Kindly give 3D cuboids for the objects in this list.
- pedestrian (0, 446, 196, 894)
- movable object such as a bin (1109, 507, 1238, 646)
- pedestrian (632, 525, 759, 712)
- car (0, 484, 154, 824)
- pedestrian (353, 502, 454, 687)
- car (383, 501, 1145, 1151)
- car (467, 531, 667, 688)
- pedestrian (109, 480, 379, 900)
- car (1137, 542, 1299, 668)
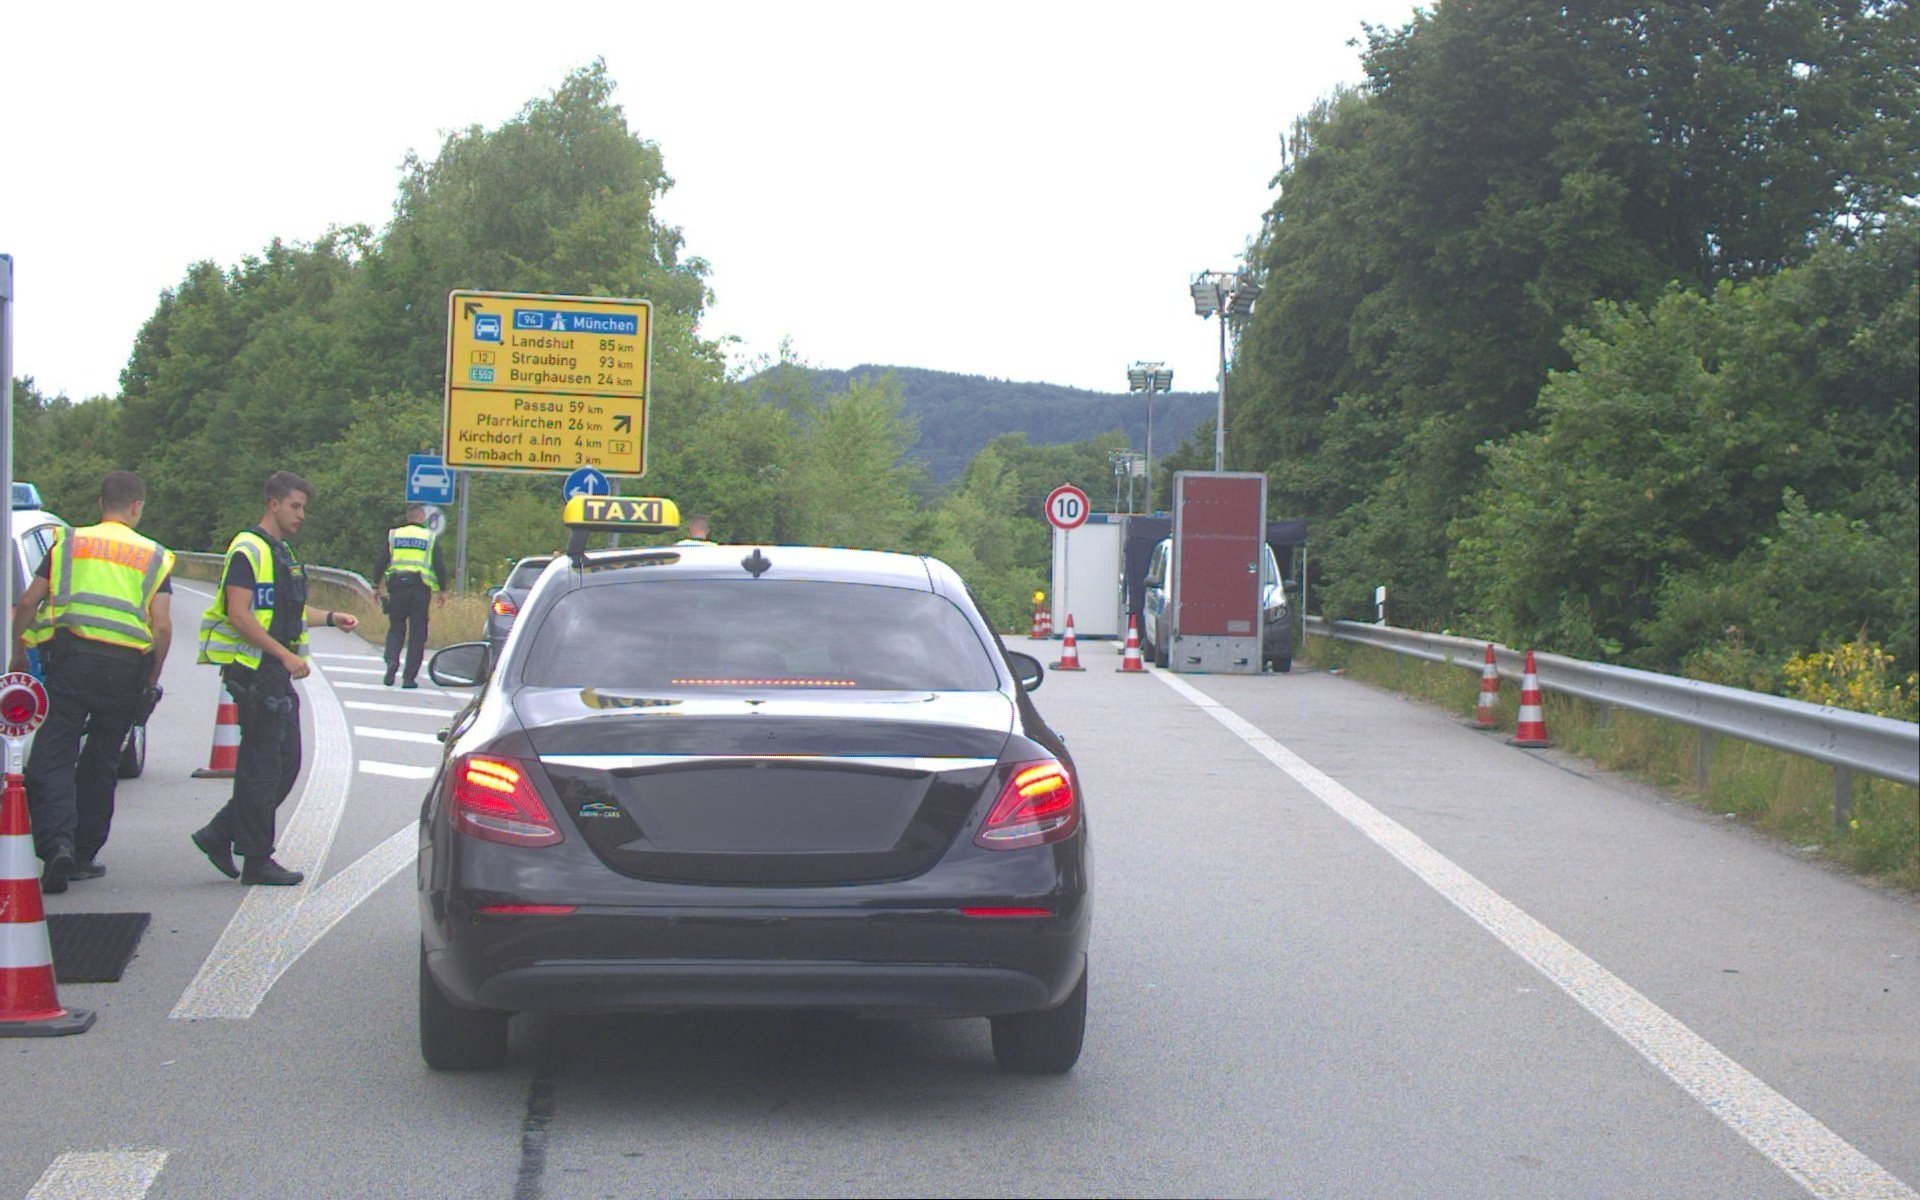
[{"bbox_3d":[-3.696,0.281,14.422,0.812,1.824,0.809,0,1,-2],"label":"pedestrian"},{"bbox_3d":[3.638,-0.424,59.207,1.993,2.272,4.168,1,1,1],"label":"movable object such as a bin"},{"bbox_3d":[-2.445,0.163,31.709,0.908,1.692,0.914,0,1,-23],"label":"pedestrian"},{"bbox_3d":[-5.818,0.229,19.538,1.868,1.737,4.009,1,1,-5],"label":"car"},{"bbox_3d":[-5.410,-0.058,33.471,0.908,1.763,0.914,1,1,-6],"label":"pedestrian"},{"bbox_3d":[-0.664,0.522,10.649,1.855,1.589,4.376,1,1,-5],"label":"car"},{"bbox_3d":[-3.964,0.054,35.225,1.855,1.493,4.257,1,1,-4],"label":"car"},{"bbox_3d":[-3.019,0.357,14.529,0.816,1.712,0.761,1,1,25],"label":"pedestrian"},{"bbox_3d":[3.722,0.026,50.369,1.916,1.672,5.083,3,1,0],"label":"car"}]
